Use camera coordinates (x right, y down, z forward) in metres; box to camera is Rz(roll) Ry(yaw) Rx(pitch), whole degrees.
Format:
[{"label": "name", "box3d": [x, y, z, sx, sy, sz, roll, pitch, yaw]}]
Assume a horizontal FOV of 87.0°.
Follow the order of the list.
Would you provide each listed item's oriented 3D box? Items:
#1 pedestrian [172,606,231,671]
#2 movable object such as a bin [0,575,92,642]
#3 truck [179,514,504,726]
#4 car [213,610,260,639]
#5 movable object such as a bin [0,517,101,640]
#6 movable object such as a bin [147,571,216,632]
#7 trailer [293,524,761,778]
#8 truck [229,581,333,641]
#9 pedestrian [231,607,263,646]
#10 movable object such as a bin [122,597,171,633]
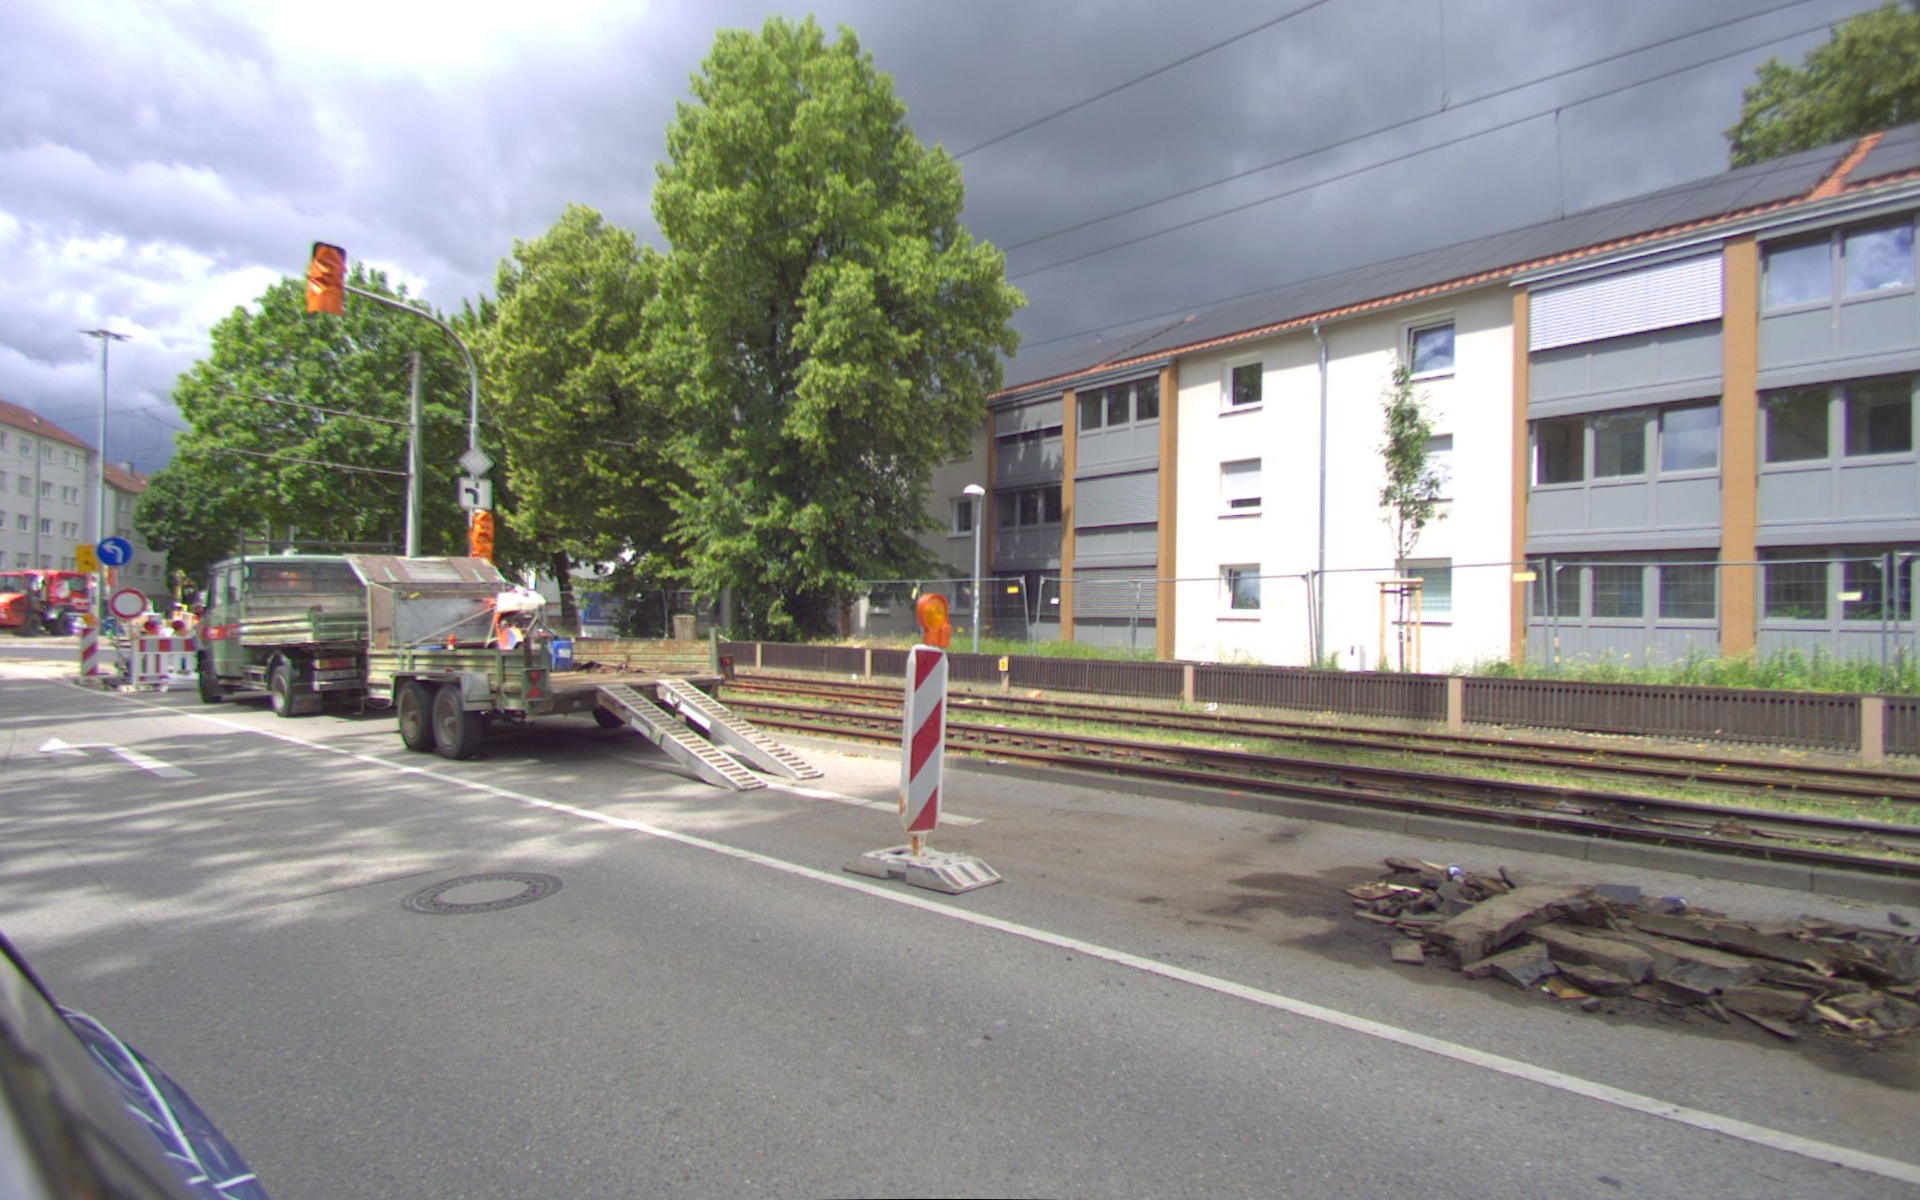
[{"label": "pedestrian", "box3d": [-18.700, 0.931, 24.965, 0.888, 1.563, 0.764, -1, 0, 2]}, {"label": "movable object such as a bin", "box3d": [-39.655, 0.324, 42.914, 2.080, 2.689, 5.604, 1, 0, -15]}, {"label": "truck", "box3d": [-10.091, 0.278, 16.223, 6.392, 2.746, 2.635, -1, 0, 41]}, {"label": "car", "box3d": [-52.775, 1.788, 73.896, 1.965, 2.029, 5.927, 1, -2, -28]}, {"label": "movable object such as a bin", "box3d": [-44.763, -0.977, 46.106, 2.787, 5.527, 9.016, 0, -2, 7]}, {"label": "movable object such as a bin", "box3d": [-61.337, 0.193, 79.883, 2.777, 4.570, 6.229, 1, -2, -23]}, {"label": "trailer", "box3d": [-5.365, 0.464, 11.972, 6.244, 2.230, 2.635, -1, 0, 41]}, {"label": "truck", "box3d": [-31.369, 0.548, 46.971, 2.378, 2.588, 5.599, 1, -1, -16]}, {"label": "pedestrian", "box3d": [-30.664, 1.131, 43.511, 0.860, 1.672, 0.931, 0, -1, -16]}, {"label": "movable object such as a bin", "box3d": [-57.351, 1.110, 71.407, 1.965, 2.428, 4.012, 1, -2, -28]}]
